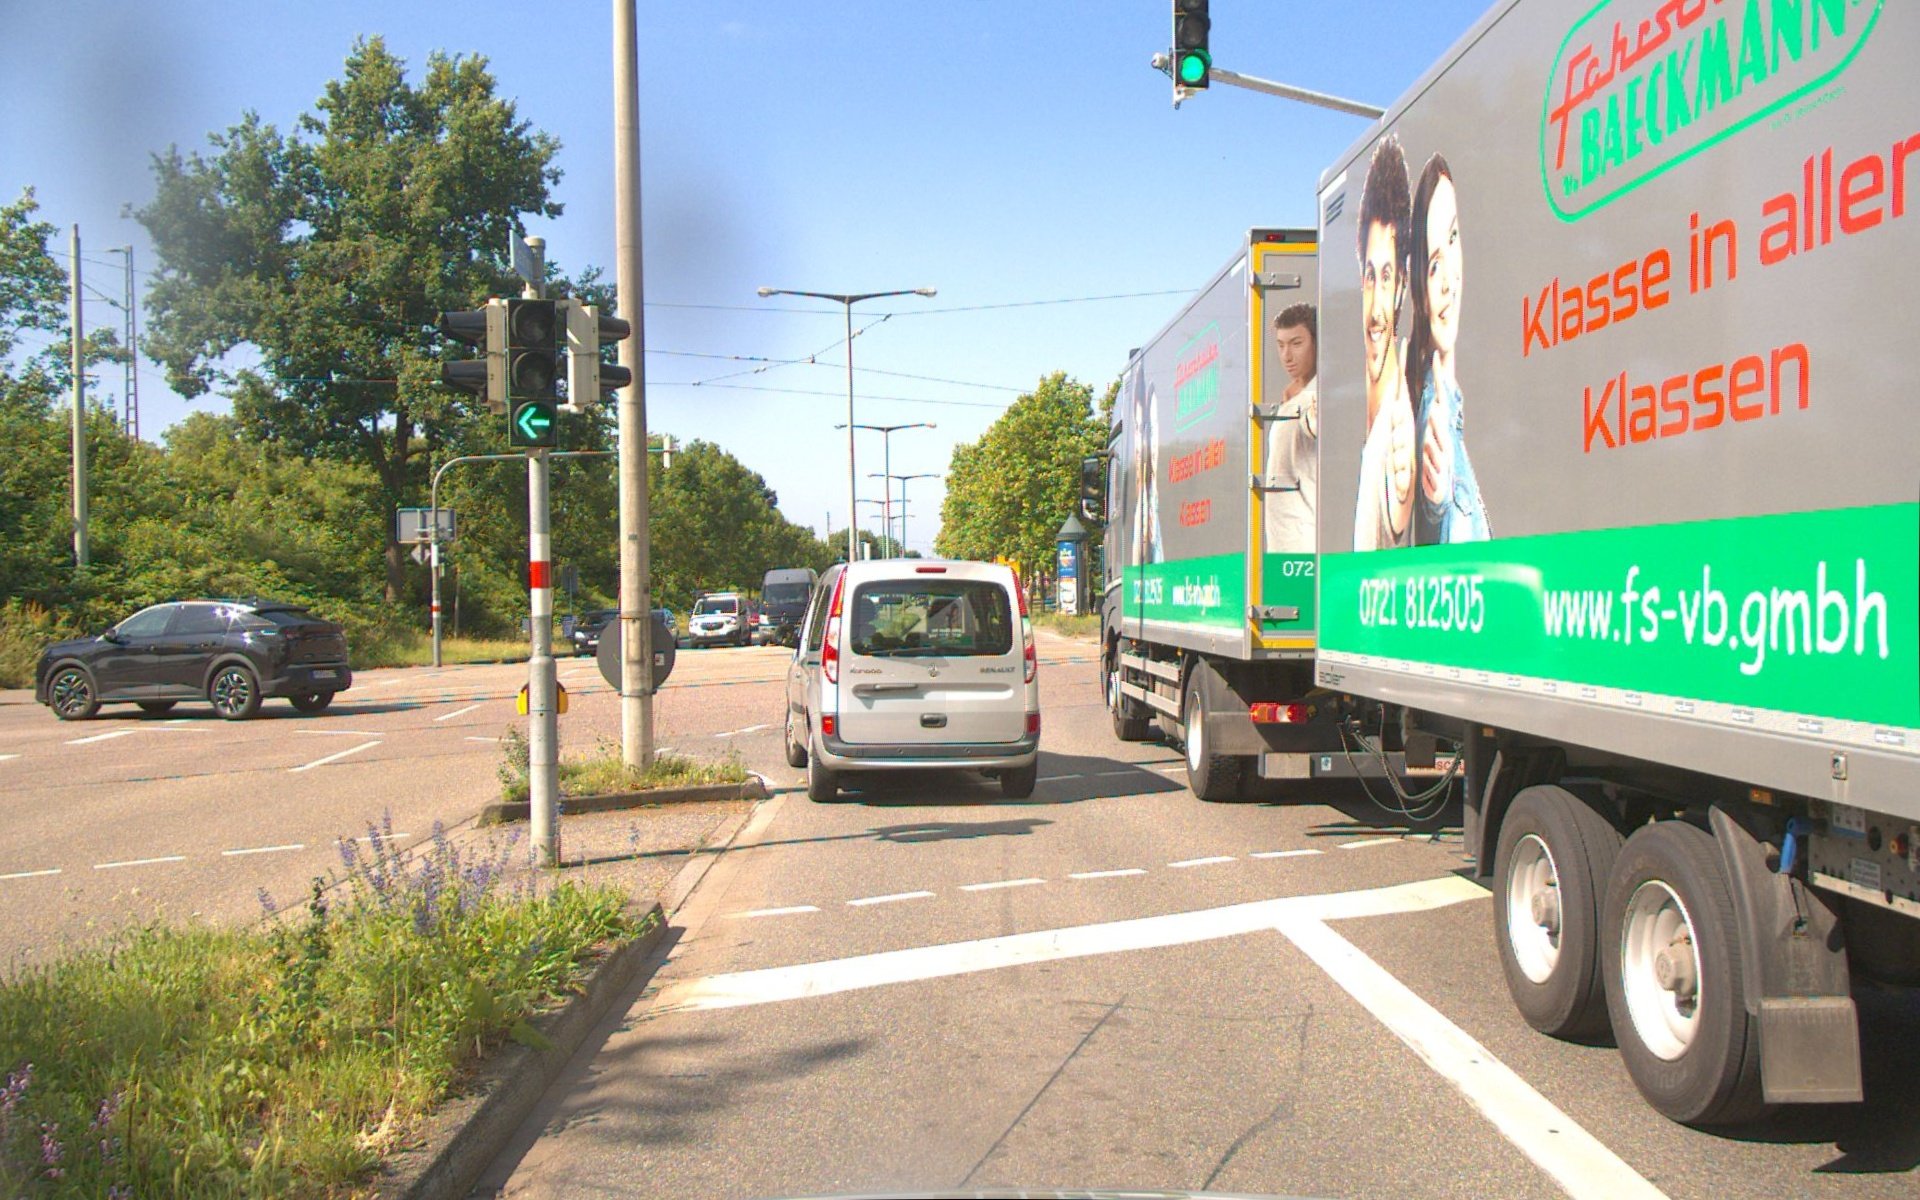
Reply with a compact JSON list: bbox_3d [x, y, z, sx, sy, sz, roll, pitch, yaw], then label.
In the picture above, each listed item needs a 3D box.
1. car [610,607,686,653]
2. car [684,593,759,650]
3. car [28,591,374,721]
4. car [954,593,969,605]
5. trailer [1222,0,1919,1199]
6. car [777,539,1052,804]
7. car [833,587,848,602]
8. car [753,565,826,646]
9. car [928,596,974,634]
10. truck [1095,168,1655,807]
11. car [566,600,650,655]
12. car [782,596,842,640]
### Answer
[{"bbox_3d":[-11.336,1.077,60.391,1.953,1.567,4.236,-2,-1,0],"label":"car"},{"bbox_3d":[-8.498,0.750,59.281,1.953,1.903,4.773,-2,-1,0],"label":"car"},{"bbox_3d":[-10.797,0.782,23.639,4.124,1.691,1.939,-1,0,12],"label":"car"},{"bbox_3d":[0.200,-0.177,230.876,1.953,1.612,4.456,-2,0,0],"label":"car"},{"bbox_3d":[3.053,-0.585,6.366,2.681,3.945,7.733,-1,-1,-1],"label":"trailer"},{"bbox_3d":[-0.529,0.528,13.784,1.753,1.870,3.991,1,-1,-9],"label":"car"},{"bbox_3d":[-17.560,-0.788,242.891,1.850,2.049,3.999,1,-1,-1],"label":"car"},{"bbox_3d":[-5.909,0.218,57.817,1.953,2.653,5.133,-1,-1,0],"label":"car"},{"bbox_3d":[-0.366,0.649,73.535,1.952,1.613,4.456,1,-1,0],"label":"car"},{"bbox_3d":[2.941,-0.673,14.662,2.674,3.958,8.721,-1,-1,0],"label":"truck"},{"bbox_3d":[-11.363,0.884,53.616,1.872,1.670,3.737,-2,-1,0],"label":"car"},{"bbox_3d":[-5.797,0.712,65.095,1.953,1.612,4.000,-2,-1,0],"label":"car"}]
